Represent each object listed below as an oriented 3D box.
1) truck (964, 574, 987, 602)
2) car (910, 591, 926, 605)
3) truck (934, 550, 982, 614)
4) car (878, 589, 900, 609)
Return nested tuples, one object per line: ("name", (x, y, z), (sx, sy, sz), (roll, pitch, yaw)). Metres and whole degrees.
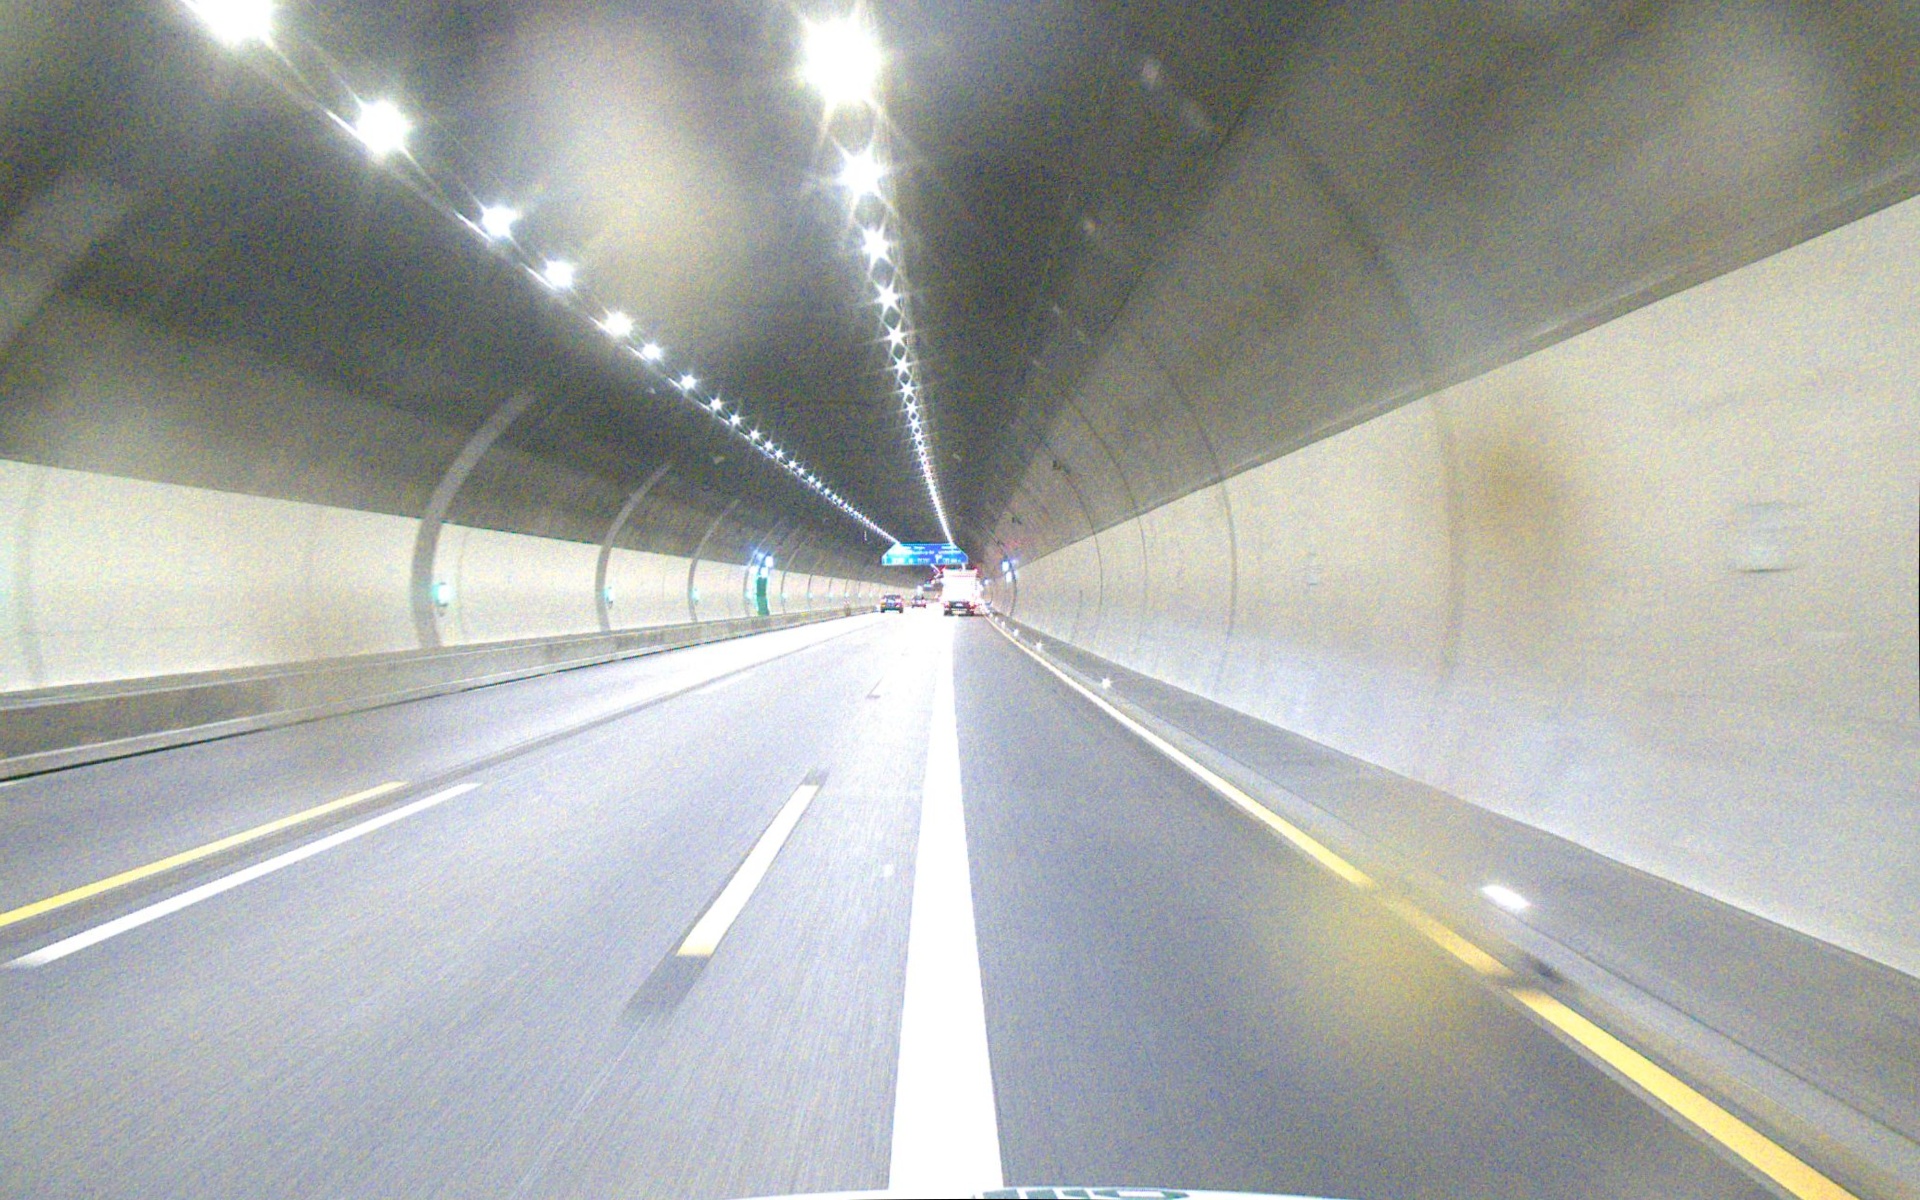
("truck", (2.313, -1.792, 249.486), (2.863, 4.118, 14.026), (-2, 0, -1))
("car", (-4.921, -0.255, 194.169), (1.776, 1.546, 3.998), (0, 2, -3))
("truck", (-0.304, -1.392, 133.212), (3.212, 4.731, 17.280), (-2, 0, -2))
("car", (-5.947, -0.114, 138.692), (1.776, 1.646, 3.999), (0, 1, -2))
